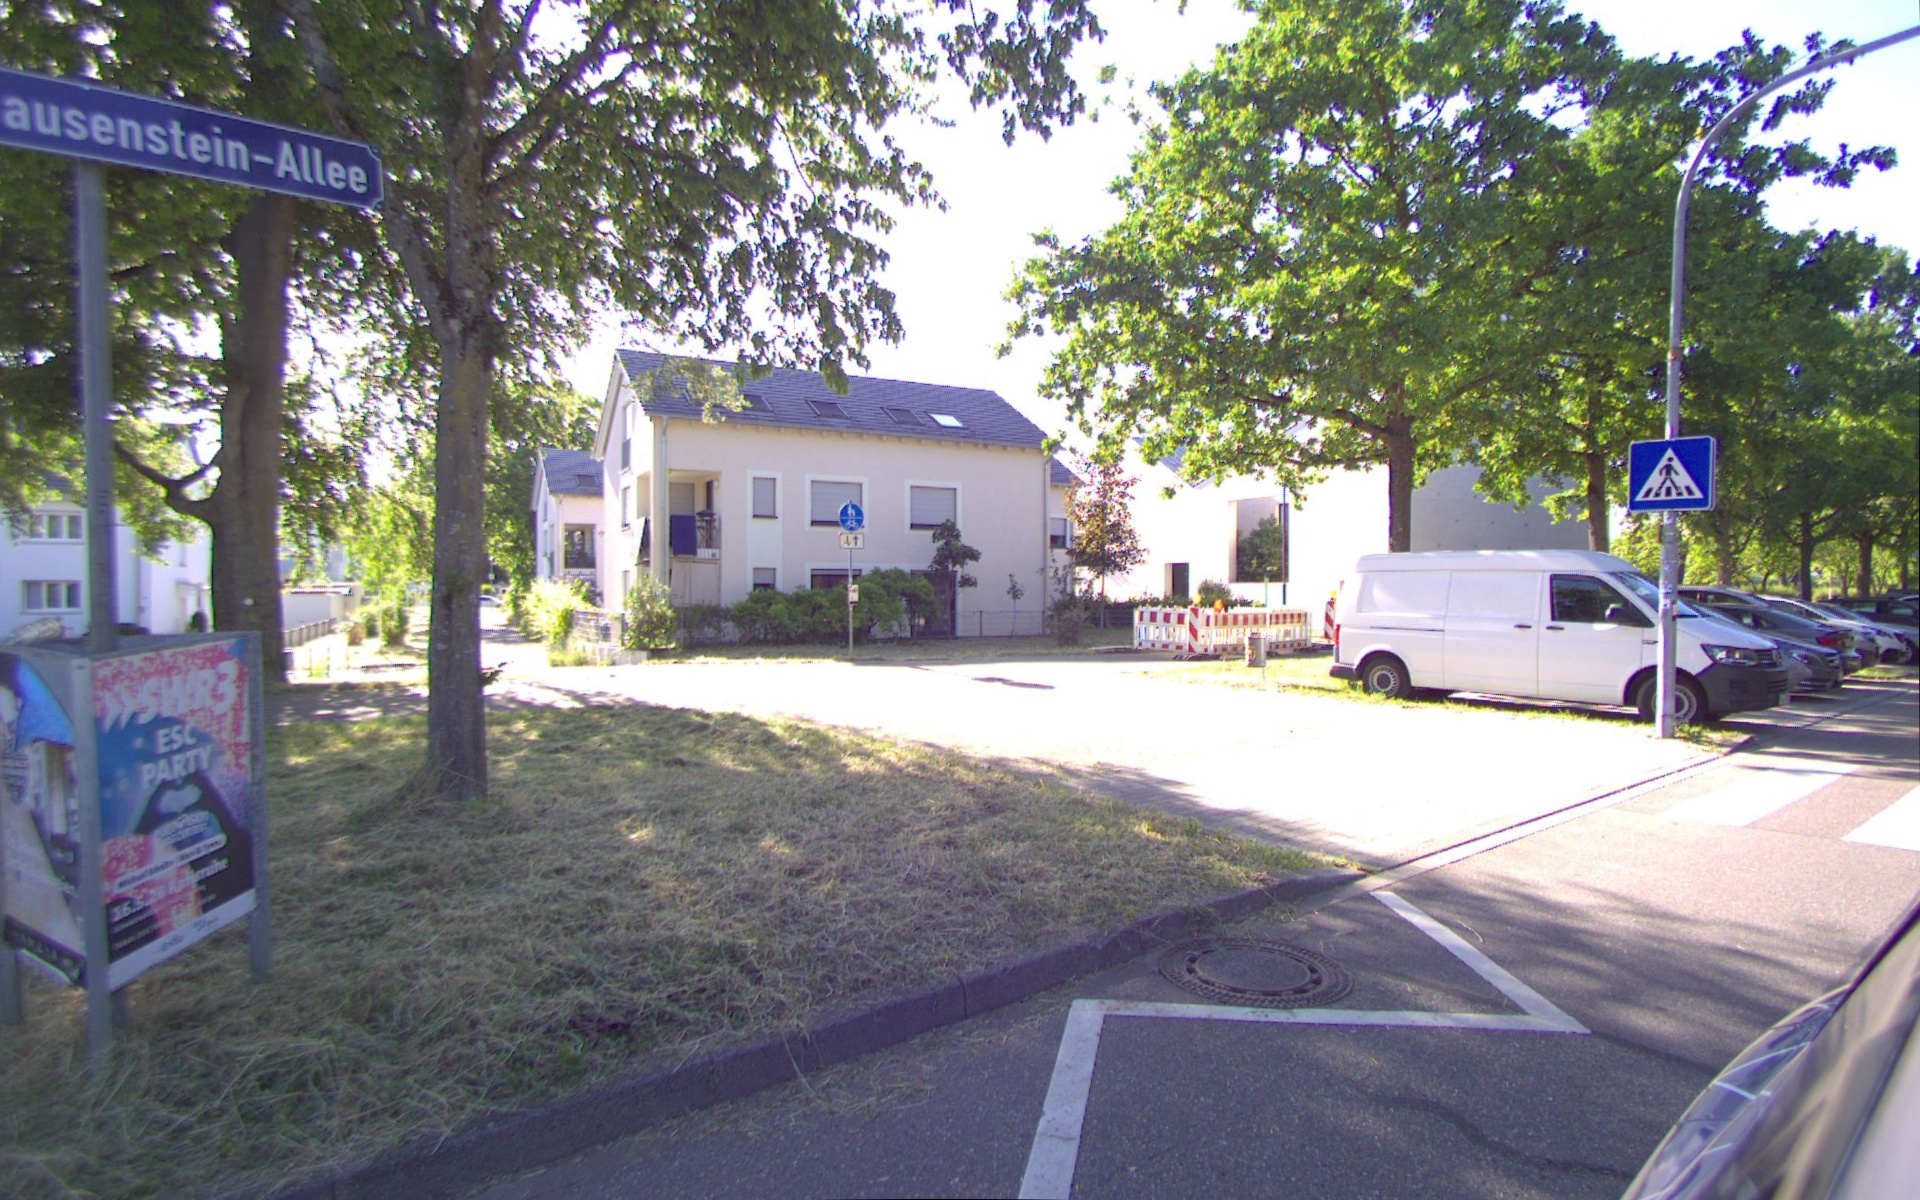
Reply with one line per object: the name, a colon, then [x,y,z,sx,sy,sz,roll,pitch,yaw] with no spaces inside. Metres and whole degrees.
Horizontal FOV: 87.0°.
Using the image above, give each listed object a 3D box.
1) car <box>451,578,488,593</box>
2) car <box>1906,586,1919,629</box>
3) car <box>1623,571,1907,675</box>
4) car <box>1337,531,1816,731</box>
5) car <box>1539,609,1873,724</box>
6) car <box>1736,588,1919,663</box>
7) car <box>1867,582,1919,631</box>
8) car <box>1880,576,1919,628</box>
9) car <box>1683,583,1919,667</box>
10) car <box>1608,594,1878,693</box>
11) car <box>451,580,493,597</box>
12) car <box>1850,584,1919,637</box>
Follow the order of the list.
car: [-68.081,-1.951,140.571,4.524,2.039,2.003,0,0,-24]
car: [41.296,0.282,40.802,1.504,1.765,4.396,0,0,-37]
car: [15.468,0.404,19.639,1.681,1.816,4.020,0,0,-37]
car: [7.749,0.282,13.260,1.856,2.107,5.045,0,1,-39]
car: [11.814,0.942,16.269,1.725,1.583,3.998,0,0,-37]
car: [21.302,0.580,24.275,1.504,1.681,4.020,0,0,-37]
car: [35.757,0.238,36.450,1.504,1.765,4.396,0,0,-37]
car: [38.198,0.073,38.596,1.504,2.013,4.396,0,0,-37]
car: [18.830,0.516,22.656,1.504,1.700,4.020,0,0,-37]
car: [13.687,0.691,17.856,1.421,1.561,3.517,0,0,-37]
car: [-62.604,-1.459,129.903,4.543,2.039,1.995,0,0,-43]
car: [32.724,0.334,33.705,1.504,1.765,4.396,0,0,-37]
